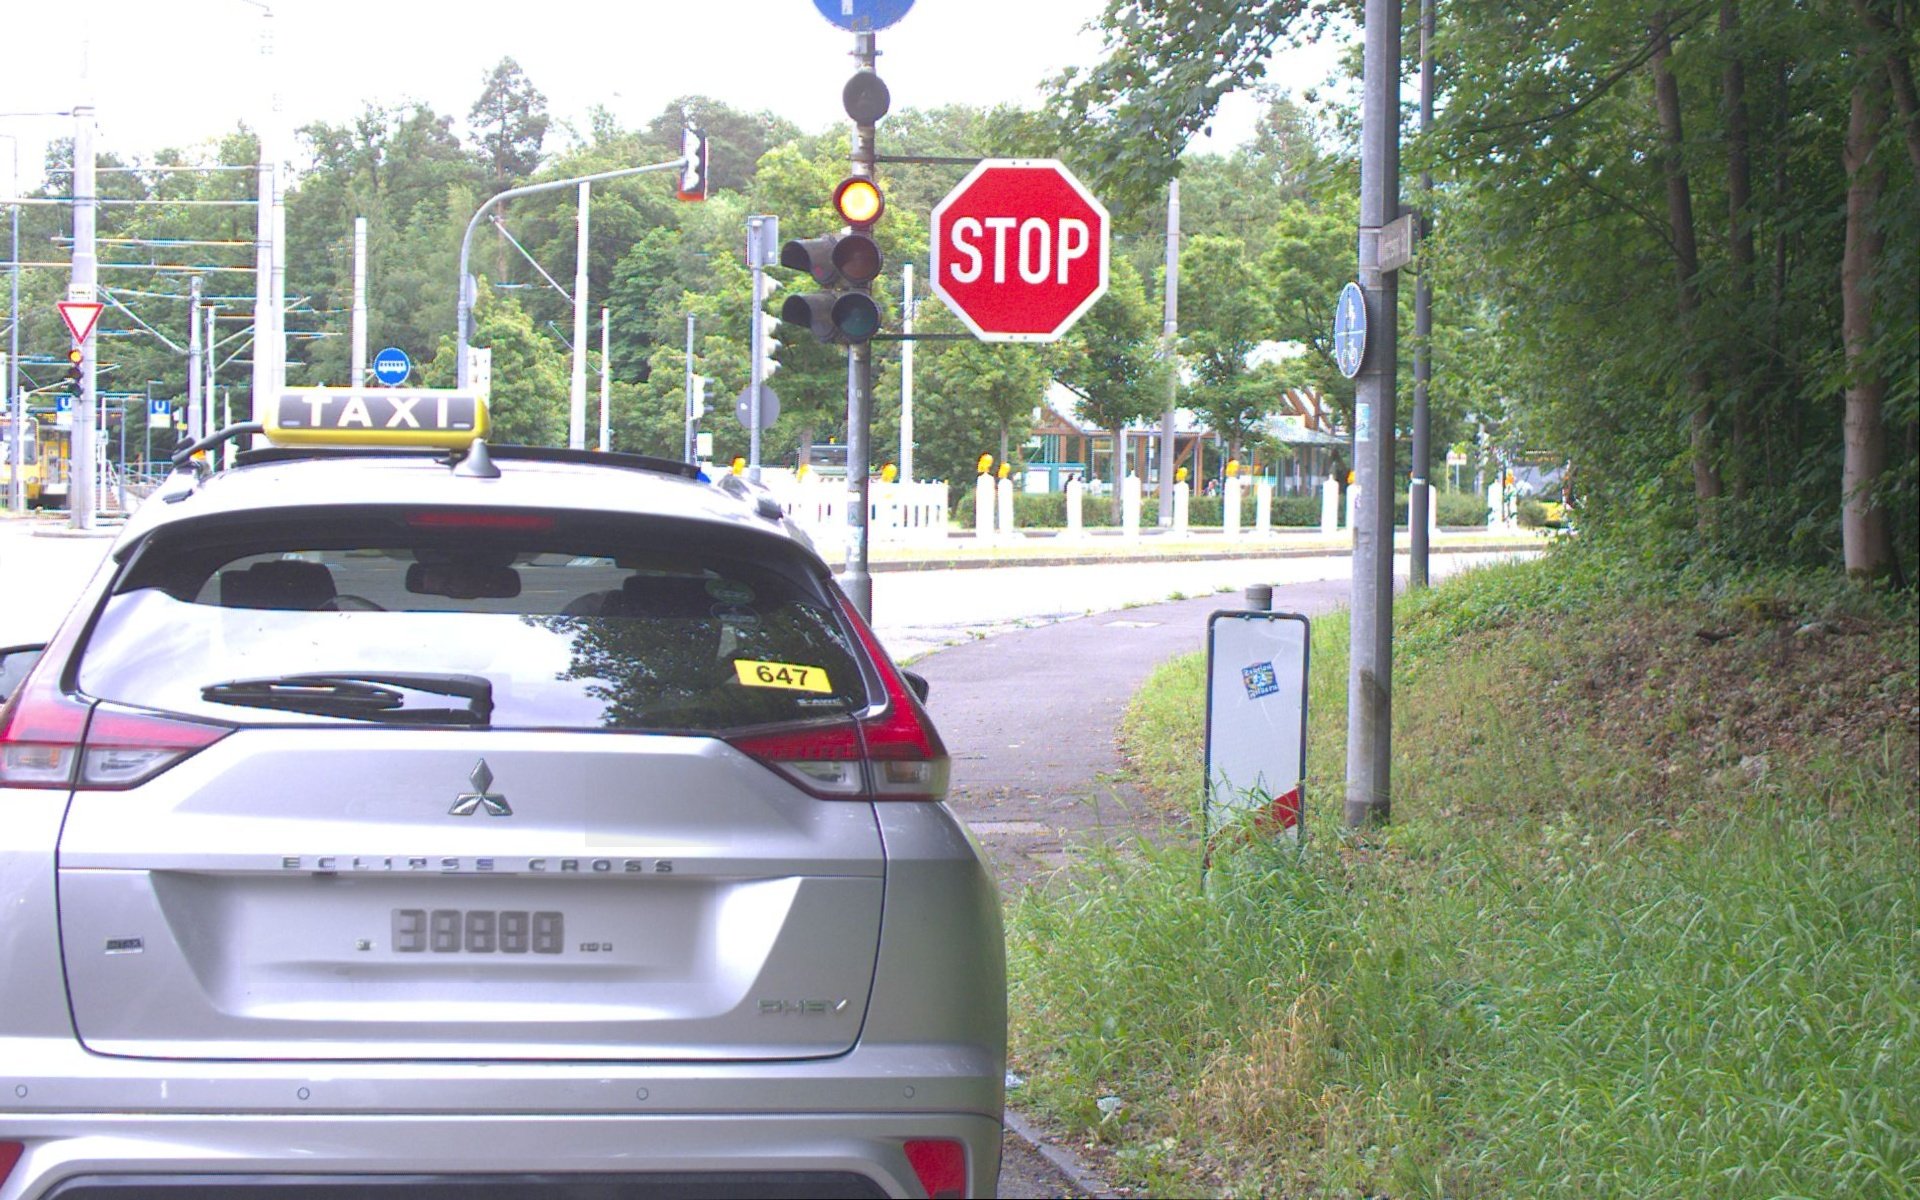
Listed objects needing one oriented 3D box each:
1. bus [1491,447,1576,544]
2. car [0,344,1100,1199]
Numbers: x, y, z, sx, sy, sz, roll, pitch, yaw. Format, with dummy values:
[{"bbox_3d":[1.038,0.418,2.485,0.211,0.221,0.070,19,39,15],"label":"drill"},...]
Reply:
[{"bbox_3d":[22.622,-4.187,136.017,2.822,3.590,12.801,1,2,8],"label":"bus"},{"bbox_3d":[-0.996,0.469,6.811,1.773,1.742,3.782,2,2,-9],"label":"car"}]
